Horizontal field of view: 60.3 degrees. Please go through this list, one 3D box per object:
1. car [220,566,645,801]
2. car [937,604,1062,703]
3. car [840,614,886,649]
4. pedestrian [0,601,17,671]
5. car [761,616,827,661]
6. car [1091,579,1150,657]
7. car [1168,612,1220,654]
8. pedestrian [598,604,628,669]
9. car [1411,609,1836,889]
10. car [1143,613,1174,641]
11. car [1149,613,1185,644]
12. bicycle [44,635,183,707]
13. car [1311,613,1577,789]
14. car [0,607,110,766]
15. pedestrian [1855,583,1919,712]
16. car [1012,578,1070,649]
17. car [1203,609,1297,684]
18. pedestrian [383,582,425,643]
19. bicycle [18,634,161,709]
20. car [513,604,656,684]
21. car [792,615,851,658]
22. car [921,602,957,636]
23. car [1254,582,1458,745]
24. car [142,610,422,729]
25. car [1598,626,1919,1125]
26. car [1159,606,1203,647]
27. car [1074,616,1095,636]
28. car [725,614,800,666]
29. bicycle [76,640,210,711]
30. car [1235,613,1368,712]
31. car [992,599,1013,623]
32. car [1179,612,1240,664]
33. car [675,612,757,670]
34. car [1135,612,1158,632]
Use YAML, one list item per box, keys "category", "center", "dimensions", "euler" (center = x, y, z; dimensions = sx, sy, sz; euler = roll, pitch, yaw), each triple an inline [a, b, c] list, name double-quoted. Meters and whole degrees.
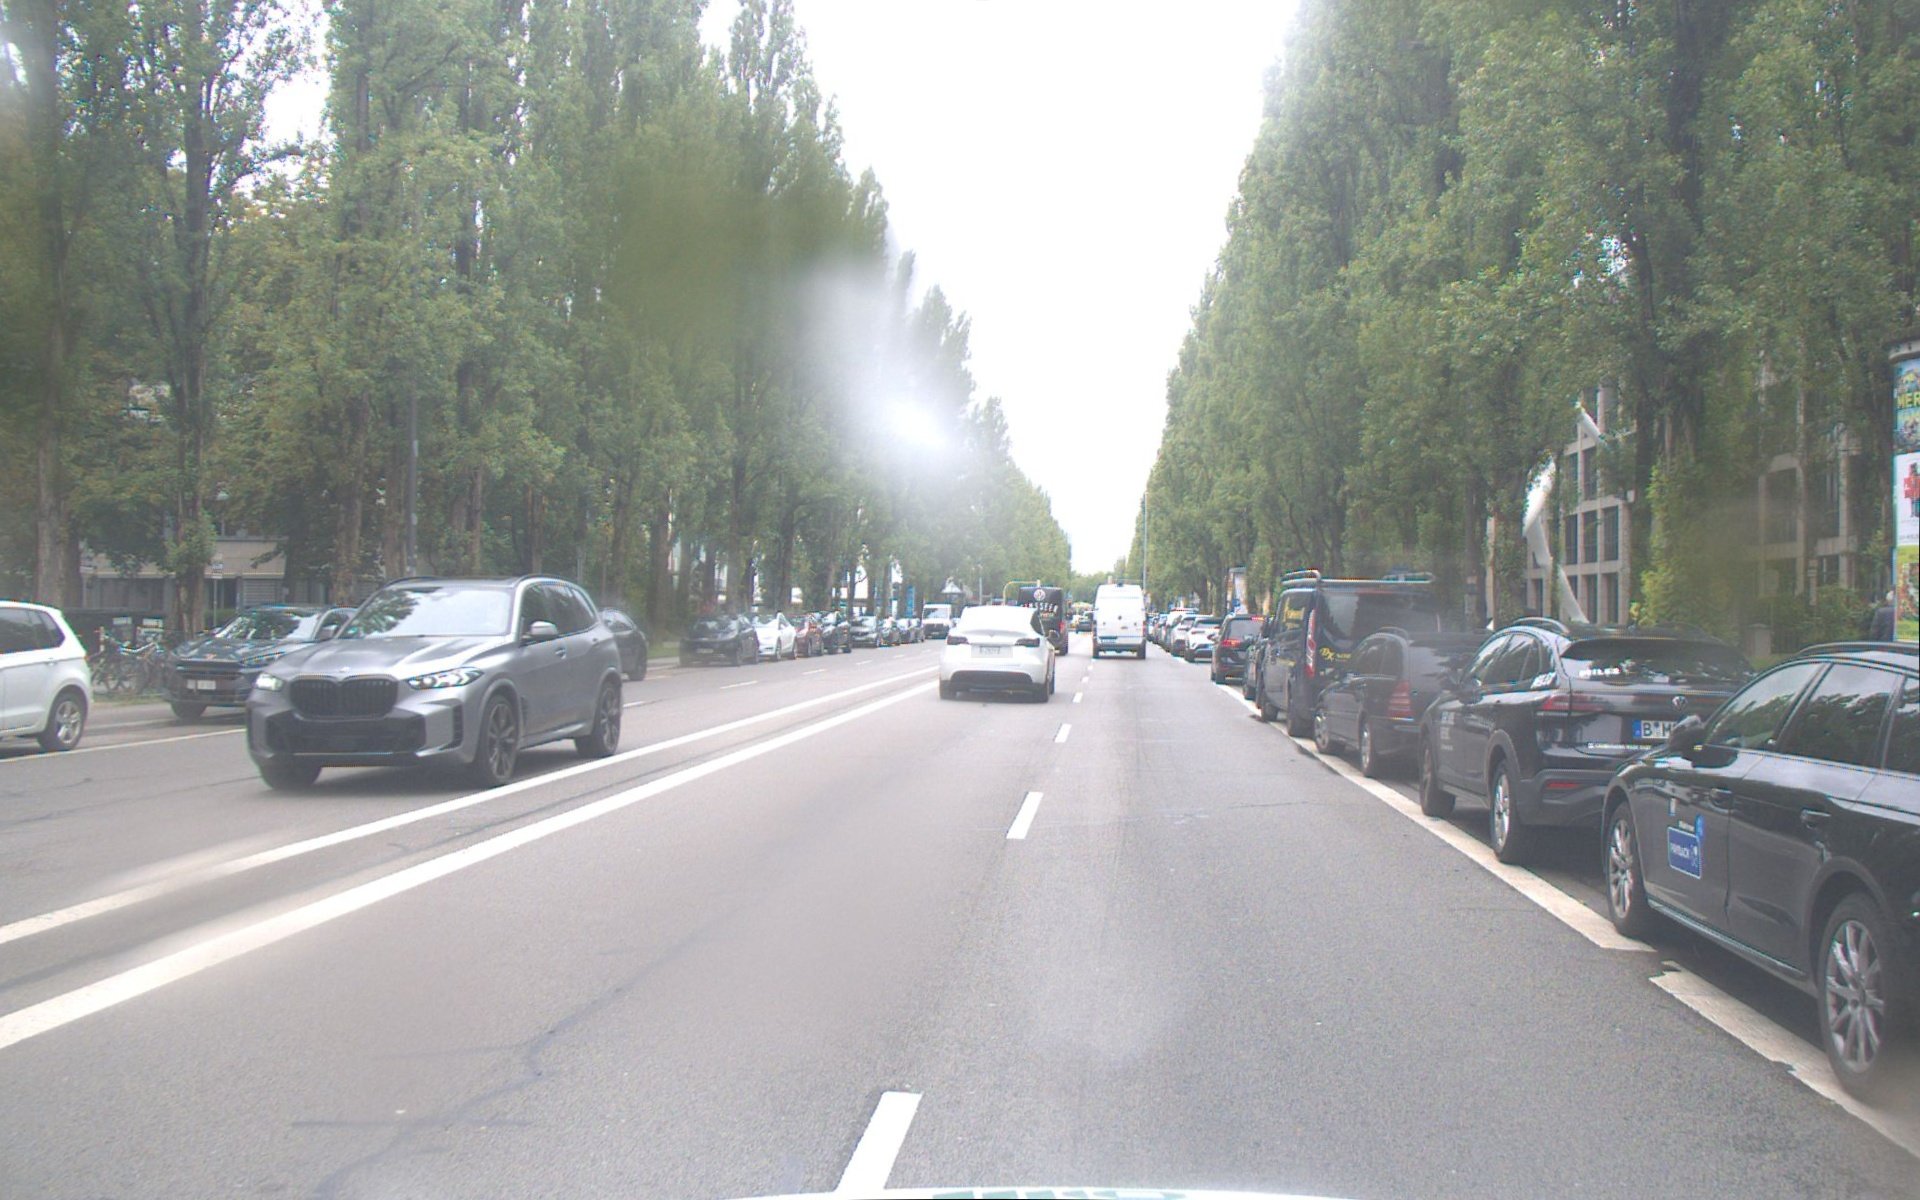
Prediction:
- category: "car"
  center: [-4.475, 0.657, 14.946]
  dimensions: [1.951, 1.746, 4.762]
  euler: [-1, -1, 5]
- category: "car"
  center: [0.801, 0.903, 29.935]
  dimensions: [1.951, 1.603, 4.641]
  euler: [1, 0, 5]
- category: "car"
  center: [-4.704, 1.512, 80.519]
  dimensions: [1.724, 1.606, 3.463]
  euler: [0, 0, 5]
- category: "pedestrian"
  center: [-23.555, 0.860, 40.097]
  dimensions: [0.797, 1.691, 0.898]
  euler: [0, -1, 6]
- category: "car"
  center: [-6.140, 1.409, 61.421]
  dimensions: [1.724, 1.606, 3.974]
  euler: [0, 0, 5]
- category: "car"
  center: [5.949, 0.630, 61.713]
  dimensions: [1.997, 2.698, 6.045]
  euler: [2, 0, 5]
- category: "car"
  center: [9.177, 1.277, 65.068]
  dimensions: [1.706, 1.573, 3.952]
  euler: [1, -1, 3]
- category: "pedestrian"
  center: [-9.075, 0.954, 43.233]
  dimensions: [0.654, 1.686, 0.601]
  euler: [0, -1, 0]
- category: "car"
  center: [4.338, 0.871, 11.459]
  dimensions: [1.706, 1.553, 3.910]
  euler: [1, -1, 6]
- category: "car"
  center: [12.473, 1.668, 104.146]
  dimensions: [1.706, 1.672, 3.952]
  euler: [1, -1, 3]
- category: "car"
  center: [11.572, 1.597, 92.710]
  dimensions: [1.706, 1.672, 3.952]
  euler: [1, -1, 3]
- category: "bicycle"
  center: [-13.797, 1.149, 26.969]
  dimensions: [1.940, 1.144, 0.676]
  euler: [0, 0, 5]
- category: "car"
  center: [4.860, 0.941, 17.204]
  dimensions: [1.706, 1.553, 4.236]
  euler: [1, -1, 3]
- category: "car"
  center: [-10.464, 0.854, 16.117]
  dimensions: [1.952, 1.569, 4.326]
  euler: [0, 0, 3]
- category: "pedestrian"
  center: [13.597, 0.682, 24.094]
  dimensions: [0.732, 1.835, 0.844]
  euler: [0, -1, 10]
- category: "car"
  center: [3.233, 0.534, 64.716]
  dimensions: [2.032, 2.600, 5.935]
  euler: [1, 0, 4]
- category: "car"
  center: [6.743, 1.059, 38.765]
  dimensions: [1.706, 1.619, 3.952]
  euler: [1, -1, 3]
- category: "pedestrian"
  center: [-15.595, 0.353, 46.395]
  dimensions: [0.797, 1.691, 0.898]
  euler: [0, -1, 6]
- category: "bicycle"
  center: [-13.762, 1.127, 26.168]
  dimensions: [1.940, 1.144, 0.676]
  euler: [0, 0, 5]
- category: "car"
  center: [-8.128, 0.925, 36.180]
  dimensions: [1.952, 1.635, 4.354]
  euler: [0, 0, 2]
- category: "car"
  center: [-5.588, 1.442, 66.998]
  dimensions: [1.724, 1.606, 3.975]
  euler: [0, 1, 5]
- category: "car"
  center: [-1.376, 1.285, 112.132]
  dimensions: [1.951, 2.156, 5.003]
  euler: [0, 1, 5]
- category: "car"
  center: [5.349, 0.809, 22.976]
  dimensions: [1.871, 1.958, 5.041]
  euler: [1, -1, 3]
- category: "car"
  center: [-9.720, 0.932, 24.122]
  dimensions: [1.951, 1.569, 4.327]
  euler: [0, 0, 6]
- category: "car"
  center: [3.881, 0.854, 6.255]
  dimensions: [1.713, 1.452, 4.451]
  euler: [1, -1, 8]
- category: "car"
  center: [10.290, 1.207, 77.090]
  dimensions: [1.706, 1.818, 3.952]
  euler: [1, -1, 3]
- category: "car"
  center: [10.761, 2.238, 142.733]
  dimensions: [1.706, 1.672, 3.952]
  euler: [1, -1, 3]
- category: "car"
  center: [-6.617, 1.307, 55.667]
  dimensions: [1.724, 1.606, 3.975]
  euler: [0, 1, 5]
- category: "bicycle"
  center: [-13.670, 1.249, 27.702]
  dimensions: [1.940, 1.144, 0.676]
  euler: [0, 0, 5]
- category: "car"
  center: [5.895, 1.039, 28.958]
  dimensions: [1.706, 1.553, 3.952]
  euler: [1, -1, 3]
- category: "car"
  center: [5.194, 1.267, 199.910]
  dimensions: [2.146, 2.766, 7.005]
  euler: [0, 1, 5]
- category: "car"
  center: [8.560, 1.279, 56.932]
  dimensions: [1.706, 1.672, 3.952]
  euler: [1, -1, 3]
- category: "car"
  center: [-7.331, 1.208, 50.006]
  dimensions: [1.903, 1.606, 3.610]
  euler: [0, 1, 0]
- category: "car"
  center: [15.784, 1.872, 140.277]
  dimensions: [1.706, 1.672, 3.952]
  euler: [1, -1, 3]
